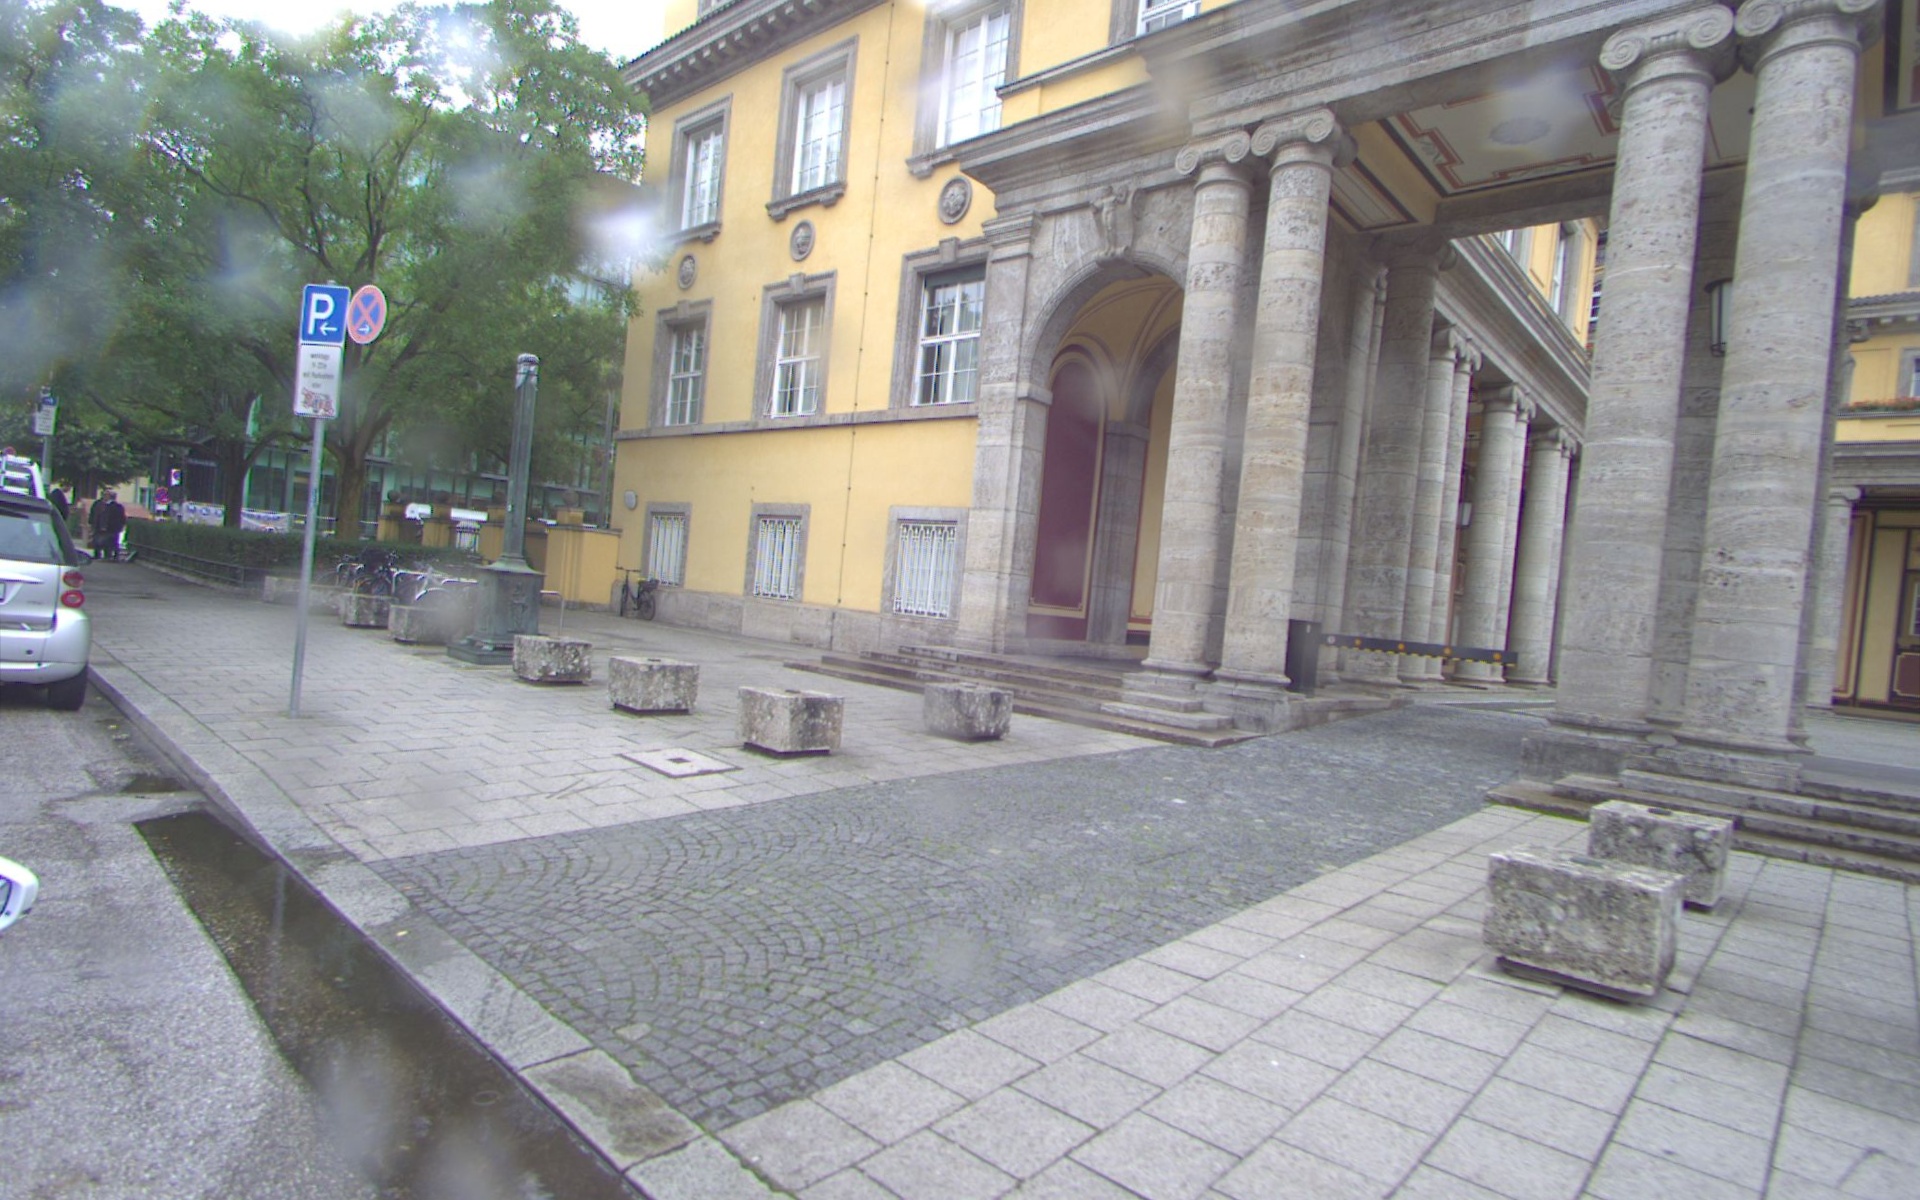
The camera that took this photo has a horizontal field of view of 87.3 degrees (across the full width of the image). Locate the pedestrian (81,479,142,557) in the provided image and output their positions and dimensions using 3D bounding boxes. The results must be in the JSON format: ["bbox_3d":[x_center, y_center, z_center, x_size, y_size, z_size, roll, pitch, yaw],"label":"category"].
[{"bbox_3d":[-22.377,-2.127,26.541,0.732,1.933,1.053,5,2,-12],"label":"pedestrian"}]

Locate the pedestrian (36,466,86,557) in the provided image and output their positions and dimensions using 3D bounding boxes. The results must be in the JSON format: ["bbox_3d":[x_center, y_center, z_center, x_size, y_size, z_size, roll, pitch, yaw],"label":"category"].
[{"bbox_3d":[-22.422,-2.209,25.085,1.041,2.163,0.740,7,3,42],"label":"pedestrian"}]

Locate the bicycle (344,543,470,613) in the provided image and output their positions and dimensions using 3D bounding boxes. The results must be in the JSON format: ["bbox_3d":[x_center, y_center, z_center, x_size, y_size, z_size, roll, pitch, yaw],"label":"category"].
[{"bbox_3d":[-10.048,-0.377,18.340,0.465,1.128,1.925,7,3,44],"label":"bicycle"}]

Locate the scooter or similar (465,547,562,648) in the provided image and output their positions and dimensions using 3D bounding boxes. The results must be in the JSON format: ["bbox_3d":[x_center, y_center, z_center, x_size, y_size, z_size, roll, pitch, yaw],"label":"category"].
[{"bbox_3d":[-5.986,-0.035,13.519,0.993,1.238,0.537,5,2,-3],"label":"scooter or similar"}]

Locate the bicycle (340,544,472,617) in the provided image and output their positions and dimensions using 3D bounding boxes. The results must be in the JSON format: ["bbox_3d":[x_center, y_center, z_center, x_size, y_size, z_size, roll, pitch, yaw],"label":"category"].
[{"bbox_3d":[-9.661,-0.325,17.611,0.465,1.128,1.925,7,3,44],"label":"bicycle"}]

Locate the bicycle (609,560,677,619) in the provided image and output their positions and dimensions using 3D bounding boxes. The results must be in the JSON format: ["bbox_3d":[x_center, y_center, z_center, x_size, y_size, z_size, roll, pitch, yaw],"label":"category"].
[{"bbox_3d":[-7.317,-0.254,23.157,1.875,1.170,0.541,7,3,42],"label":"bicycle"}]

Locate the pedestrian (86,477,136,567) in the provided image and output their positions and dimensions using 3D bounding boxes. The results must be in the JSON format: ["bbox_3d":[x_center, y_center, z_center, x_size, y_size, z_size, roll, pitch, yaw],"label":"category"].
[{"bbox_3d":[-21.552,-1.982,25.534,1.041,2.163,0.740,7,3,42],"label":"pedestrian"}]

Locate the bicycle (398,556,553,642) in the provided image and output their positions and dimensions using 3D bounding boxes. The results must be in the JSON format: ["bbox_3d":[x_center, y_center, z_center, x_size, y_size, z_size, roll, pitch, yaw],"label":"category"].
[{"bbox_3d":[-6.903,0.015,14.418,0.464,1.128,1.928,7,2,39],"label":"bicycle"}]

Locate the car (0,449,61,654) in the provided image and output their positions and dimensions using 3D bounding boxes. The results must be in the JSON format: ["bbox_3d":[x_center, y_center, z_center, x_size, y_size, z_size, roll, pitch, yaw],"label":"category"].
[{"bbox_3d":[-11.578,-0.743,11.042,5.200,1.956,1.843,6,-2,42],"label":"car"}]

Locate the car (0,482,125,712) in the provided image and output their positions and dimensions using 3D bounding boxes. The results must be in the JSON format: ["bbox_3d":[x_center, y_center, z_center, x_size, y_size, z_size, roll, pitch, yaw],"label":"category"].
[{"bbox_3d":[-7.794,-0.156,7.776,2.894,1.564,1.603,6,-1,43],"label":"car"}]

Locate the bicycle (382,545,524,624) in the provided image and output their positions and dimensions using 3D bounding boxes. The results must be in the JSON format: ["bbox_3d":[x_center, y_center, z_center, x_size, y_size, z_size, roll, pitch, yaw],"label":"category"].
[{"bbox_3d":[-8.046,-0.226,16.020,0.465,1.128,1.925,7,3,44],"label":"bicycle"}]

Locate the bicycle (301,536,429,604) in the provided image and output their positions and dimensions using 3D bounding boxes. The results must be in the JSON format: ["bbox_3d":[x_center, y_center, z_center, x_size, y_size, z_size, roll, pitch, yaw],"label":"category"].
[{"bbox_3d":[-11.288,-0.547,19.148,0.464,1.128,2.027,7,2,39],"label":"bicycle"}]
